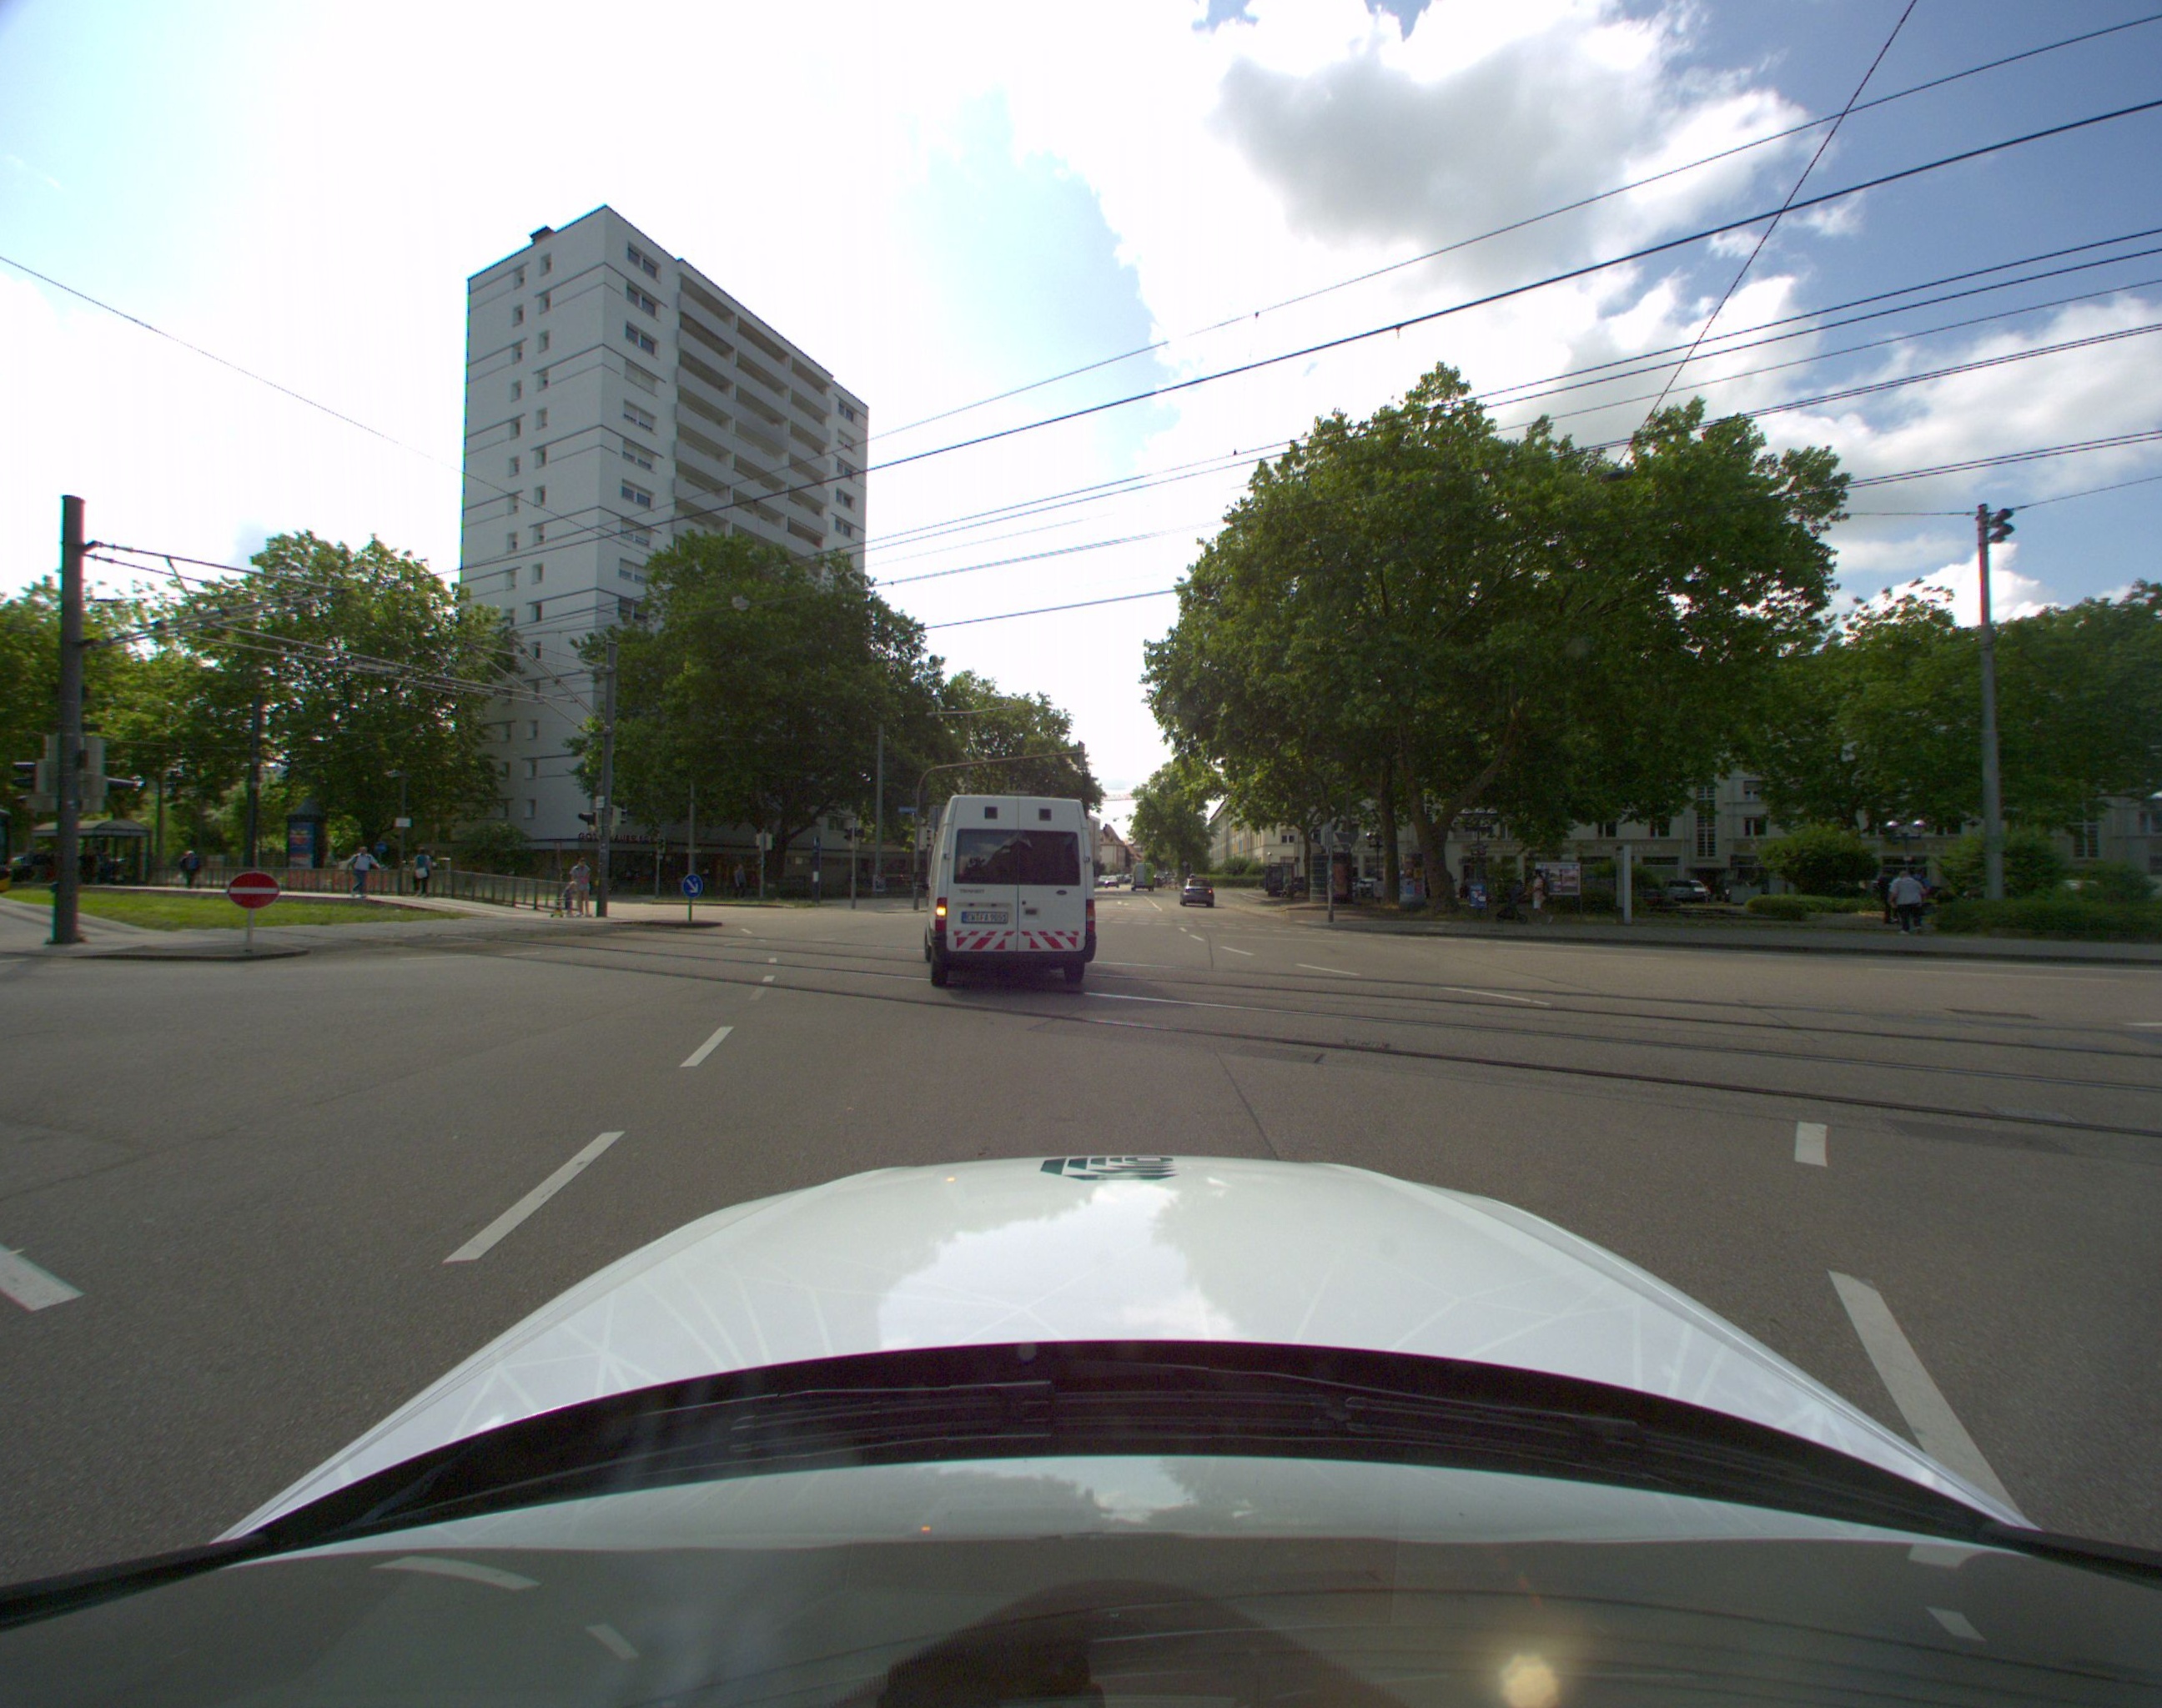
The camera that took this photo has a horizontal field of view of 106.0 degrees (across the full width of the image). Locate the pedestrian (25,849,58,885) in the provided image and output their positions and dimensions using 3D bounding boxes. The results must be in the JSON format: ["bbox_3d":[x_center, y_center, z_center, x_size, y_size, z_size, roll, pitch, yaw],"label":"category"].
[{"bbox_3d":[-51.849,0.657,40.625,1.118,1.801,0.718,0,-2,25],"label":"pedestrian"}]

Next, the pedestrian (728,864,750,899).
[{"bbox_3d":[-16.033,1.278,38.155,0.775,1.599,0.538,0,-2,23],"label":"pedestrian"}]

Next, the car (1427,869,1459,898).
[{"bbox_3d":[27.288,2.208,61.348,1.975,2.076,4.023,0,-2,27],"label":"car"}]

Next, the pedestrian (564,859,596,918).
[{"bbox_3d":[-14.453,0.975,23.503,0.629,1.666,0.668,2,-2,-45],"label":"pedestrian"}]

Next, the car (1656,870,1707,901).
[{"bbox_3d":[40.625,2.081,55.172,1.975,2.014,4.022,-1,-2,25],"label":"car"}]

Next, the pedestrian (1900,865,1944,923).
[{"bbox_3d":[26.026,1.229,25.207,0.694,1.751,0.606,0,-1,2],"label":"pedestrian"}]

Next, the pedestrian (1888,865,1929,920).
[{"bbox_3d":[26.898,1.236,26.483,0.694,1.751,0.606,0,-1,3],"label":"pedestrian"}]

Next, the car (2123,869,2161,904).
[{"bbox_3d":[60.599,1.819,44.989,2.077,1.906,4.518,-1,-2,28],"label":"car"}]

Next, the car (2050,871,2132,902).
[{"bbox_3d":[66.837,2.146,53.972,1.975,1.964,4.024,-1,-2,28],"label":"car"}]

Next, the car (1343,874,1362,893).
[{"bbox_3d":[24.945,2.702,74.783,1.452,1.666,3.083,0,-2,22],"label":"car"}]

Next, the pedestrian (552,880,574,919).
[{"bbox_3d":[-14.503,1.273,22.793,0.423,1.063,0.431,2,-2,-44],"label":"pedestrian"}]

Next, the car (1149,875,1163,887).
[{"bbox_3d":[9.815,3.500,106.793,1.717,1.555,3.636,0,-2,4],"label":"car"}]

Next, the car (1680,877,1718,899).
[{"bbox_3d":[47.882,2.617,63.200,1.722,1.637,4.024,-1,-2,28],"label":"car"}]

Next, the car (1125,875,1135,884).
[{"bbox_3d":[9.698,5.023,161.167,1.852,1.661,3.755,0,-1,6],"label":"car"}]

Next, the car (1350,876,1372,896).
[{"bbox_3d":[20.614,2.346,59.994,1.454,1.389,3.081,0,-2,18],"label":"car"}]

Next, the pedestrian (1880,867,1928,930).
[{"bbox_3d":[23.258,1.243,23.025,0.665,1.764,0.693,0,-1,3],"label":"pedestrian"}]

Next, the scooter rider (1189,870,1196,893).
[{"bbox_3d":[9.034,2.206,65.933,0.524,1.812,0.649,0,-1,2],"label":"scooter rider"}]

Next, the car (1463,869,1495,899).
[{"bbox_3d":[29.321,2.179,59.938,1.975,2.076,4.023,0,-2,27],"label":"car"}]

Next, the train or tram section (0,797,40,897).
[{"bbox_3d":[-44.929,-0.234,31.575,12.854,3.585,2.832,0,-2,26],"label":"train or tram section"}]

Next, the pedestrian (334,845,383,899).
[{"bbox_3d":[-24.151,0.599,27.231,1.032,1.780,0.856,0,-2,27],"label":"pedestrian"}]

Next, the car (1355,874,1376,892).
[{"bbox_3d":[22.114,2.245,63.285,1.453,1.389,3.251,0,-2,20],"label":"car"}]

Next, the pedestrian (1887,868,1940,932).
[{"bbox_3d":[22.578,1.230,22.097,0.714,1.723,0.693,0,-1,3],"label":"pedestrian"}]

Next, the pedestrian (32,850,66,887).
[{"bbox_3d":[-52.442,0.735,41.380,1.018,1.873,0.818,0,-2,25],"label":"pedestrian"}]

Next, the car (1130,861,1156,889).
[{"bbox_3d":[6.001,2.055,79.696,2.112,2.641,6.328,0,-1,1],"label":"car"}]

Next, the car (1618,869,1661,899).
[{"bbox_3d":[38.553,2.034,56.340,1.975,2.014,4.024,-1,-2,28],"label":"car"}]

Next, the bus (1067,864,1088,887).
[{"bbox_3d":[-0.367,2.673,101.789,2.385,2.709,6.370,0,-2,1],"label":"bus"}]

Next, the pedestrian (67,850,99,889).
[{"bbox_3d":[-47.542,0.750,38.800,0.897,1.849,0.707,-1,-2,25],"label":"pedestrian"}]

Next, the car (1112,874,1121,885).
[{"bbox_3d":[6.909,4.952,157.985,1.644,1.932,3.755,0,-1,6],"label":"car"}]

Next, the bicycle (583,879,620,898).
[{"bbox_3d":[-27.096,1.950,46.011,1.736,1.009,0.528,2,-2,-37],"label":"bicycle"}]

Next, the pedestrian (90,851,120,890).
[{"bbox_3d":[-47.360,0.809,39.519,0.779,1.849,0.707,-1,-2,25],"label":"pedestrian"}]

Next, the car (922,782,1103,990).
[{"bbox_3d":[-1.159,0.408,11.617,2.047,2.333,4.697,1,-1,-10],"label":"car"}]

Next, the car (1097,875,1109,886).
[{"bbox_3d":[3.587,4.280,132.491,1.720,1.661,3.755,0,-1,6],"label":"car"}]

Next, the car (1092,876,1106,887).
[{"bbox_3d":[2.614,3.945,118.942,1.837,1.562,4.004,0,-2,5],"label":"car"}]

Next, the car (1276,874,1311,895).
[{"bbox_3d":[17.340,2.472,66.316,2.009,1.601,4.564,-1,-2,25],"label":"car"}]

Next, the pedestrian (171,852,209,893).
[{"bbox_3d":[-38.925,0.797,35.580,0.865,1.775,0.865,-1,-2,26],"label":"pedestrian"}]

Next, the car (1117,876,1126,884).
[{"bbox_3d":[8.626,5.516,172.997,1.692,1.661,3.755,0,-1,6],"label":"car"}]

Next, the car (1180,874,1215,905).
[{"bbox_3d":[6.246,1.885,43.842,1.684,1.538,3.472,0,-1,5],"label":"car"}]

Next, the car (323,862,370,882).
[{"bbox_3d":[-68.899,1.698,76.400,4.284,1.815,1.824,0,-2,28],"label":"car"}]

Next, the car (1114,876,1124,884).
[{"bbox_3d":[7.767,5.324,166.248,1.651,1.661,3.755,0,-1,6],"label":"car"}]

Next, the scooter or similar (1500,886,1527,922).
[{"bbox_3d":[13.197,1.529,24.853,0.699,1.056,0.494,0,-2,28],"label":"scooter or similar"}]

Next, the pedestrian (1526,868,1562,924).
[{"bbox_3d":[13.897,1.239,24.472,0.911,1.646,0.573,0,-2,28],"label":"pedestrian"}]

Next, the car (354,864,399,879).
[{"bbox_3d":[-67.769,1.671,78.297,3.997,1.402,1.823,0,-1,26],"label":"car"}]

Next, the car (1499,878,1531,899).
[{"bbox_3d":[31.421,2.471,58.989,1.975,1.422,4.023,0,-2,27],"label":"car"}]

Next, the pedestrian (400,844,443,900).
[{"bbox_3d":[-22.775,0.616,28.119,0.836,1.899,0.834,-1,-2,26],"label":"pedestrian"}]

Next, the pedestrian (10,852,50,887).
[{"bbox_3d":[-54.024,0.795,41.863,1.476,1.801,0.894,0,-2,25],"label":"pedestrian"}]

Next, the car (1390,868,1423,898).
[{"bbox_3d":[24.874,2.220,62.157,1.975,2.183,4.282,0,-2,27],"label":"car"}]

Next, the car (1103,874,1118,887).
[{"bbox_3d":[3.933,3.436,107.727,1.778,1.661,4.321,0,-1,5],"label":"car"}]
